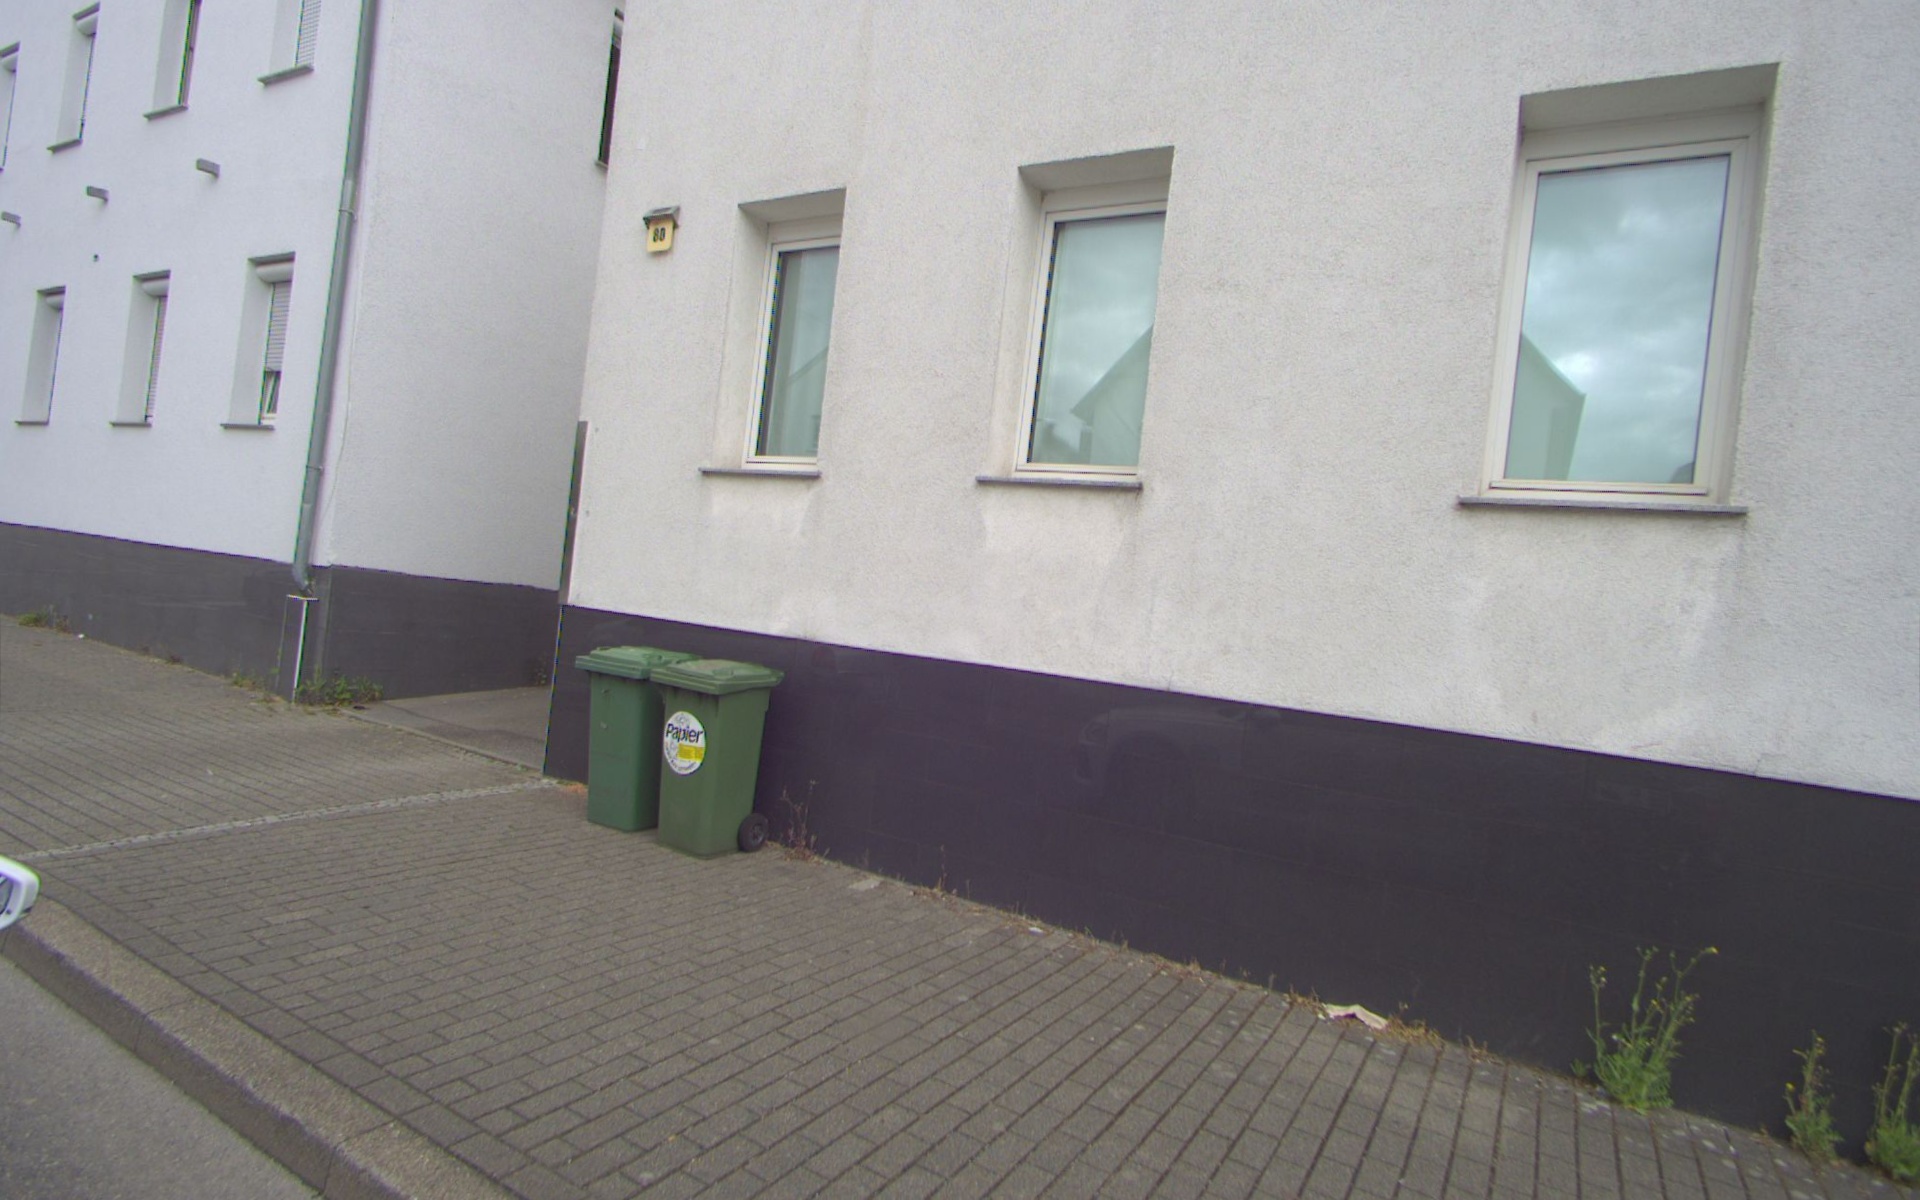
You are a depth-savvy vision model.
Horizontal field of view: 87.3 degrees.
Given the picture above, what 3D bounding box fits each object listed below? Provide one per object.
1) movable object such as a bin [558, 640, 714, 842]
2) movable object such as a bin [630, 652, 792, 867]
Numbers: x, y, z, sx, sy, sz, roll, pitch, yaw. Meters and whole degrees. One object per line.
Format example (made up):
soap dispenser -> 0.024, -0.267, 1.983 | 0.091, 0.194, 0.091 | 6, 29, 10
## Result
movable object such as a bin -> -1.704, 0.712, 5.313 | 0.479, 0.953, 0.540 | 7, 2, 32
movable object such as a bin -> -1.246, 0.765, 5.056 | 0.479, 0.953, 0.540 | 7, 2, 32
